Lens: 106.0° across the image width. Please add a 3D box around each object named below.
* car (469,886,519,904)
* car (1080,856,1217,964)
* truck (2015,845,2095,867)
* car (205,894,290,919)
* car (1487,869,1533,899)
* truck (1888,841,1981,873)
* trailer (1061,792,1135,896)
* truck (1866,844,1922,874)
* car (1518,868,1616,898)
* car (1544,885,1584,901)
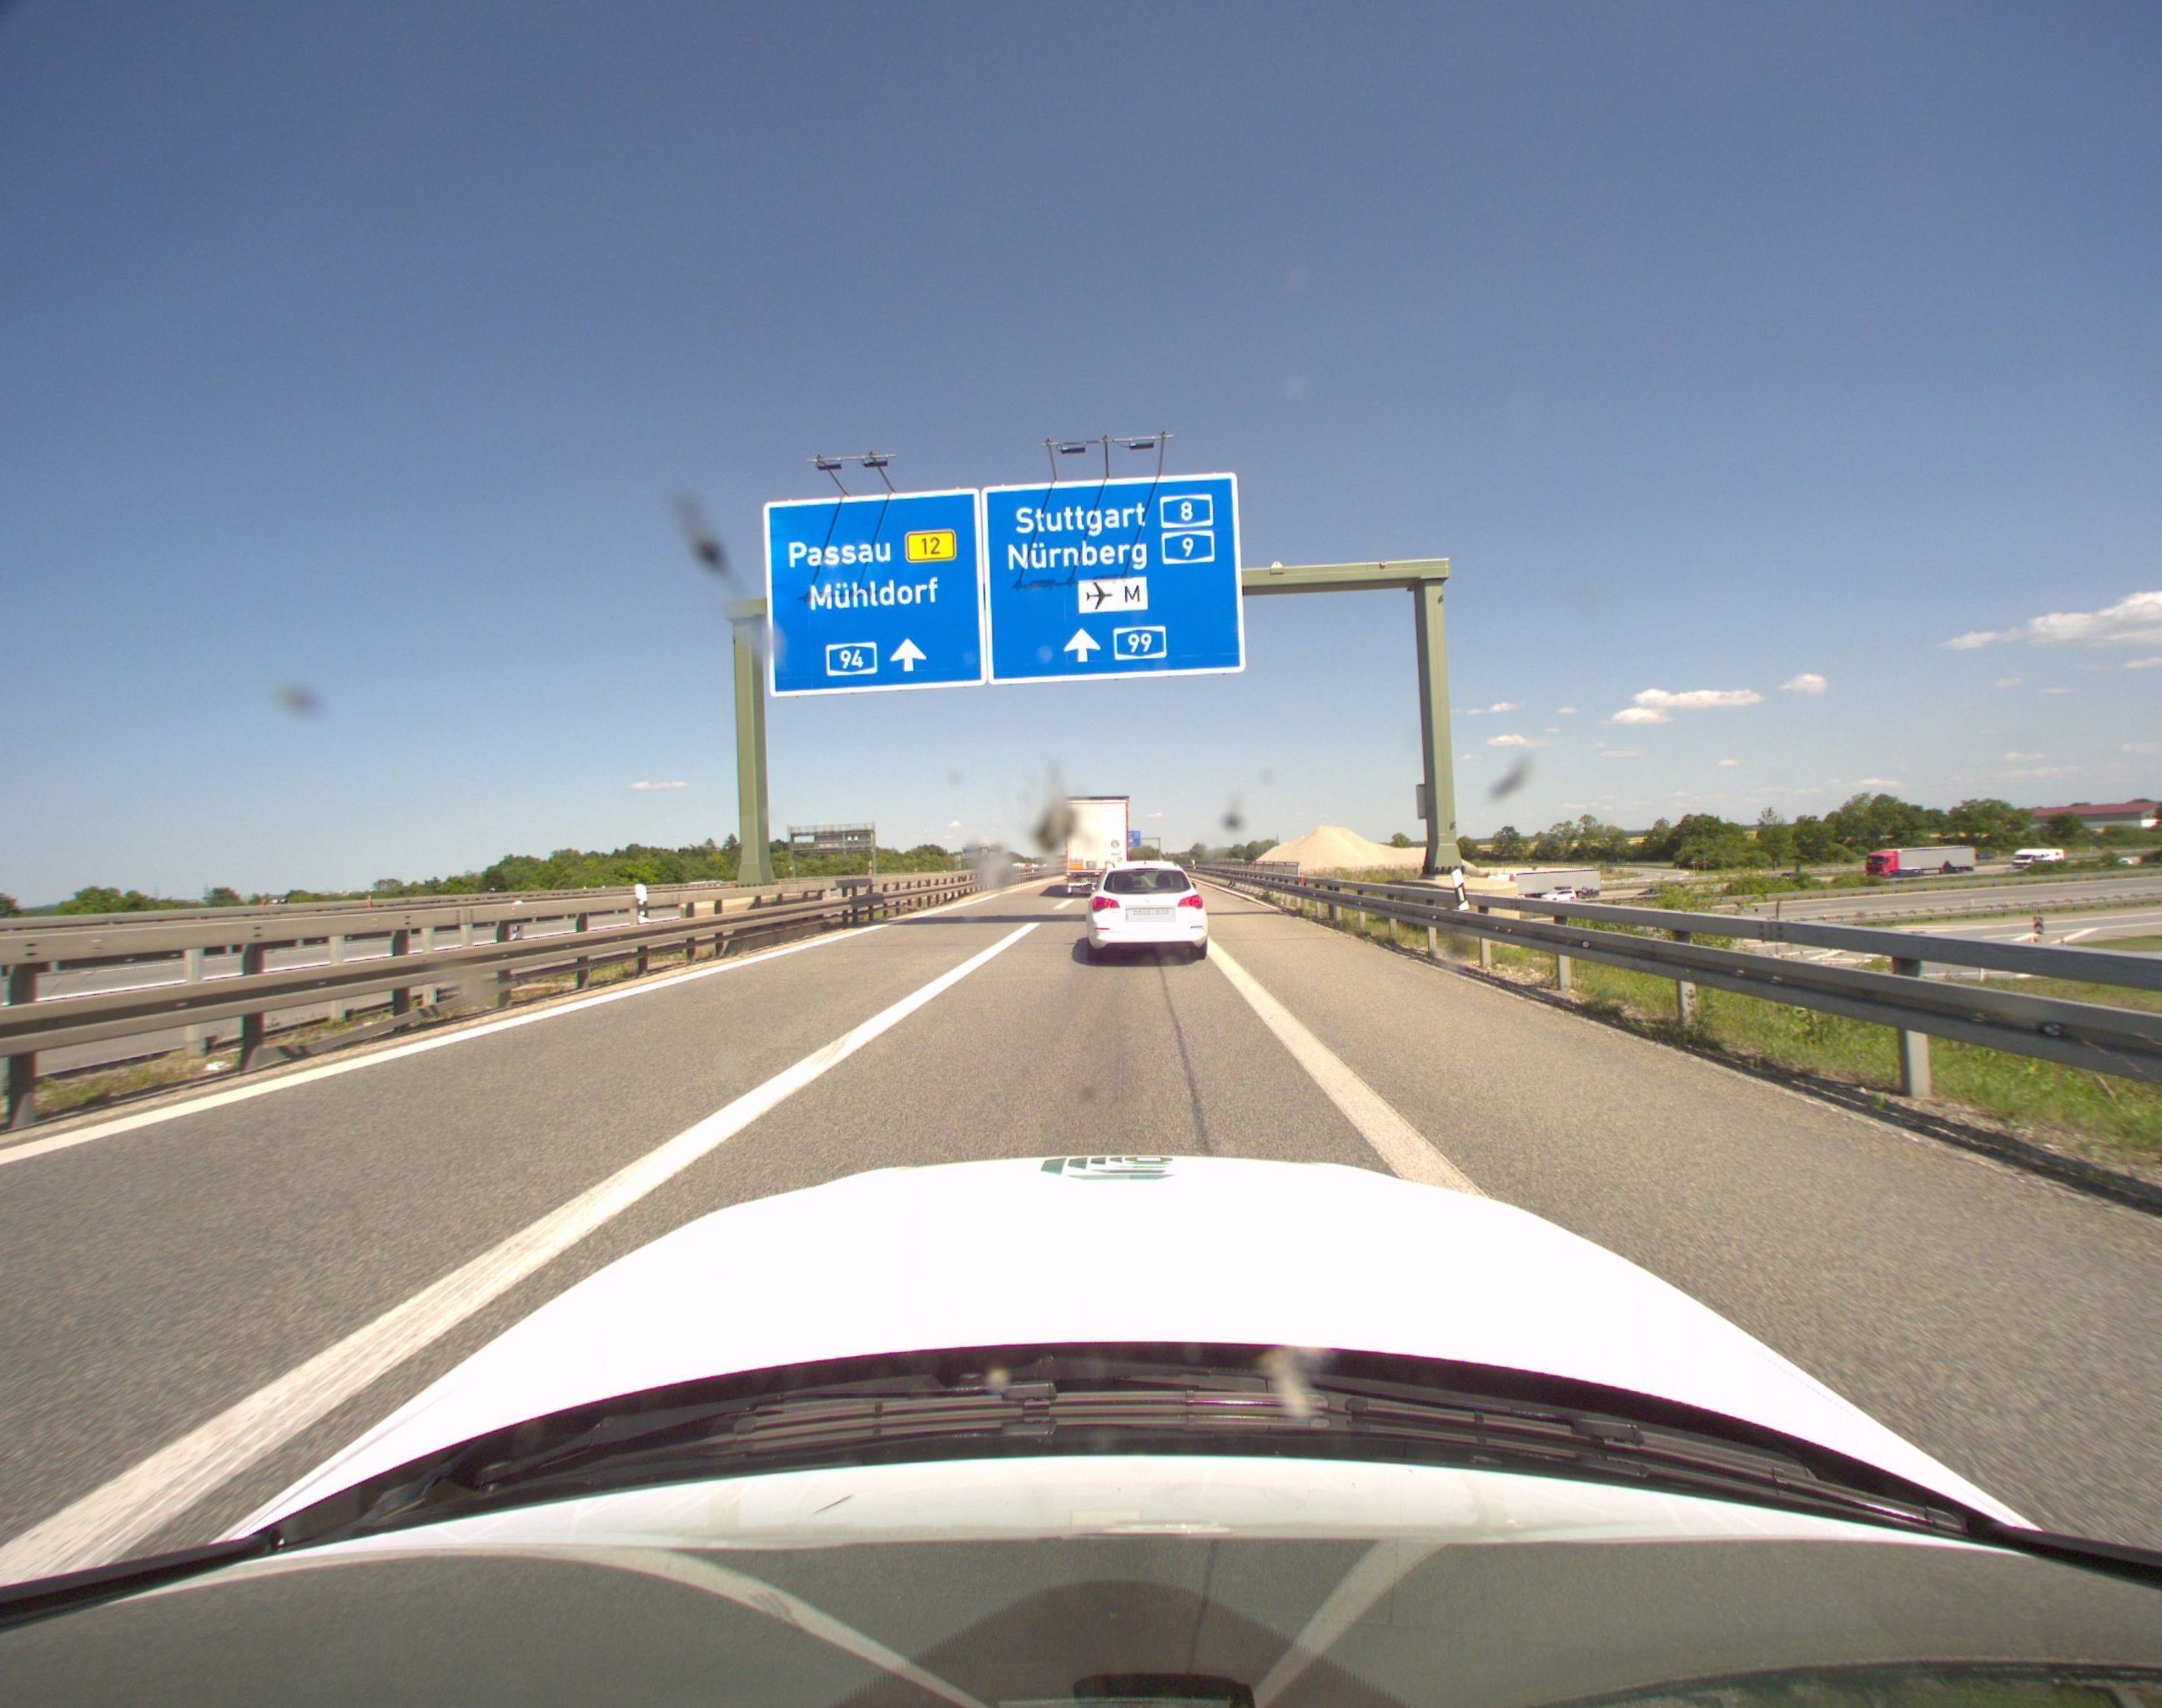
[{"bbox_3d":[-47.873,3.330,66.495,1.572,1.354,3.345,-3,-3,2],"label":"car"},{"bbox_3d":[1.054,0.794,13.379,1.846,1.443,4.375,-1,-1,3],"label":"car"},{"bbox_3d":[151.246,0.313,126.485,10.009,3.060,3.142,-2,-1,-8],"label":"truck"},{"bbox_3d":[-50.081,3.147,49.033,1.572,1.354,3.345,-3,-3,2],"label":"car"},{"bbox_3d":[59.029,4.092,112.072,5.137,3.964,2.477,0,-1,-7],"label":"car"},{"bbox_3d":[129.663,0.402,123.742,12.529,4.064,2.862,-3,-1,-8],"label":"truck"},{"bbox_3d":[0.947,-0.259,38.256,2.901,4.146,11.263,-1,-1,3],"label":"trailer"},{"bbox_3d":[122.480,0.734,122.691,5.934,4.064,2.862,-3,-1,-8],"label":"truck"},{"bbox_3d":[67.495,3.990,113.134,12.956,3.964,2.477,0,-1,-7],"label":"car"},{"bbox_3d":[64.936,5.179,109.520,4.390,2.014,1.995,0,-1,-7],"label":"car"}]
